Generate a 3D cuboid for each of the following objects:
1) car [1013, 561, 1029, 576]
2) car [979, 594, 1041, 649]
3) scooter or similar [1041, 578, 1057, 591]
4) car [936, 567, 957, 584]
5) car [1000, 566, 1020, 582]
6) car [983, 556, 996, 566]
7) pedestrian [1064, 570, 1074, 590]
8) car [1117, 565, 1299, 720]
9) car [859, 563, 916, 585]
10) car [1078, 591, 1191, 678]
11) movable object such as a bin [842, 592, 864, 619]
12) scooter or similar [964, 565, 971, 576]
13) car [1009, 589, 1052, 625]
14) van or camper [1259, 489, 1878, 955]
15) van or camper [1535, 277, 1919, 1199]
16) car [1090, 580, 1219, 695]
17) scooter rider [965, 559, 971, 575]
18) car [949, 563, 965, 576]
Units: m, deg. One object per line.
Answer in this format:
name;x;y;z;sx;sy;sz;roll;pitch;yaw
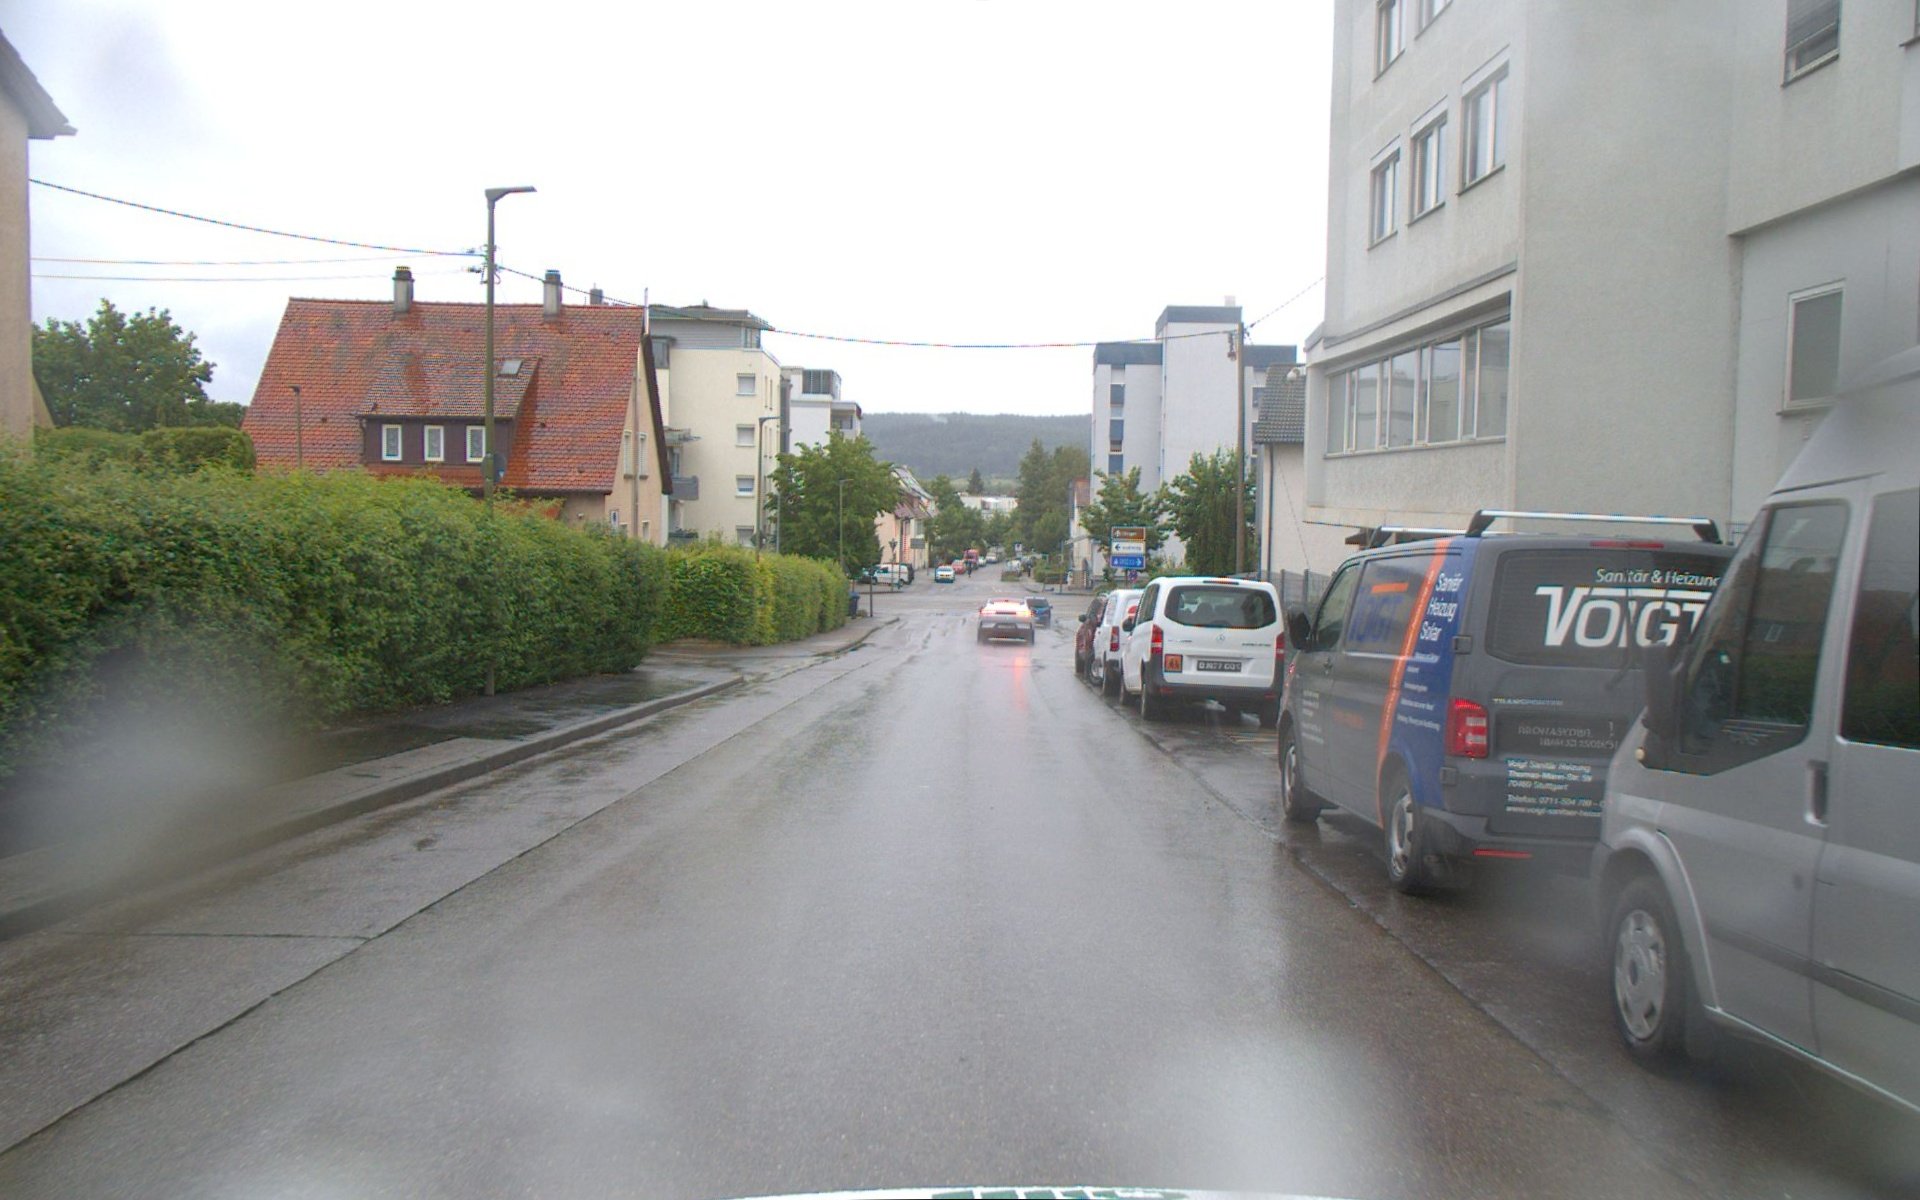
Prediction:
car;7.432;-3.879;201.631;1.862;1.775;4.193;0;2;2
car;1.692;0.716;57.180;1.953;1.713;4.000;0;2;-1
scooter or similar;7.349;-1.275;136.758;1.243;1.100;0.876;0;1;-3
car;-1.385;-2.509;166.237;1.952;1.654;4.193;0;2;2
car;5.416;-2.809;179.751;2.101;1.616;4.129;0;2;2
car;4.516;-5.956;252.842;1.862;1.586;4.193;0;2;2
pedestrian;9.092;-1.656;137.931;0.634;1.676;0.525;3;1;-5
car;3.433;0.532;23.794;1.952;1.969;4.977;1;0;1
car;-6.414;-2.355;146.283;4.793;1.867;1.974;-2;2;-37
car;3.591;0.669;34.801;1.952;1.673;4.959;1;0;1
movable object such as a bin;-5.550;0.285;86.006;1.049;1.371;1.319;2;0;-1
scooter or similar;0.901;-3.309;187.502;0.741;1.192;1.315;0;2;3
car;3.550;0.332;84.072;1.953;1.713;4.000;0;2;-1
van or camper;3.283;0.532;10.242;1.952;2.150;5.203;0;1;0
van or camper;3.263;0.371;3.911;1.952;2.282;5.441;0;1;0
car;3.377;0.612;29.468;1.839;1.866;4.489;1;0;1
scooter rider;0.894;-3.761;187.420;0.736;1.827;0.673;0;1;1
car;-0.381;-3.738;202.684;1.862;1.586;4.193;0;2;2
